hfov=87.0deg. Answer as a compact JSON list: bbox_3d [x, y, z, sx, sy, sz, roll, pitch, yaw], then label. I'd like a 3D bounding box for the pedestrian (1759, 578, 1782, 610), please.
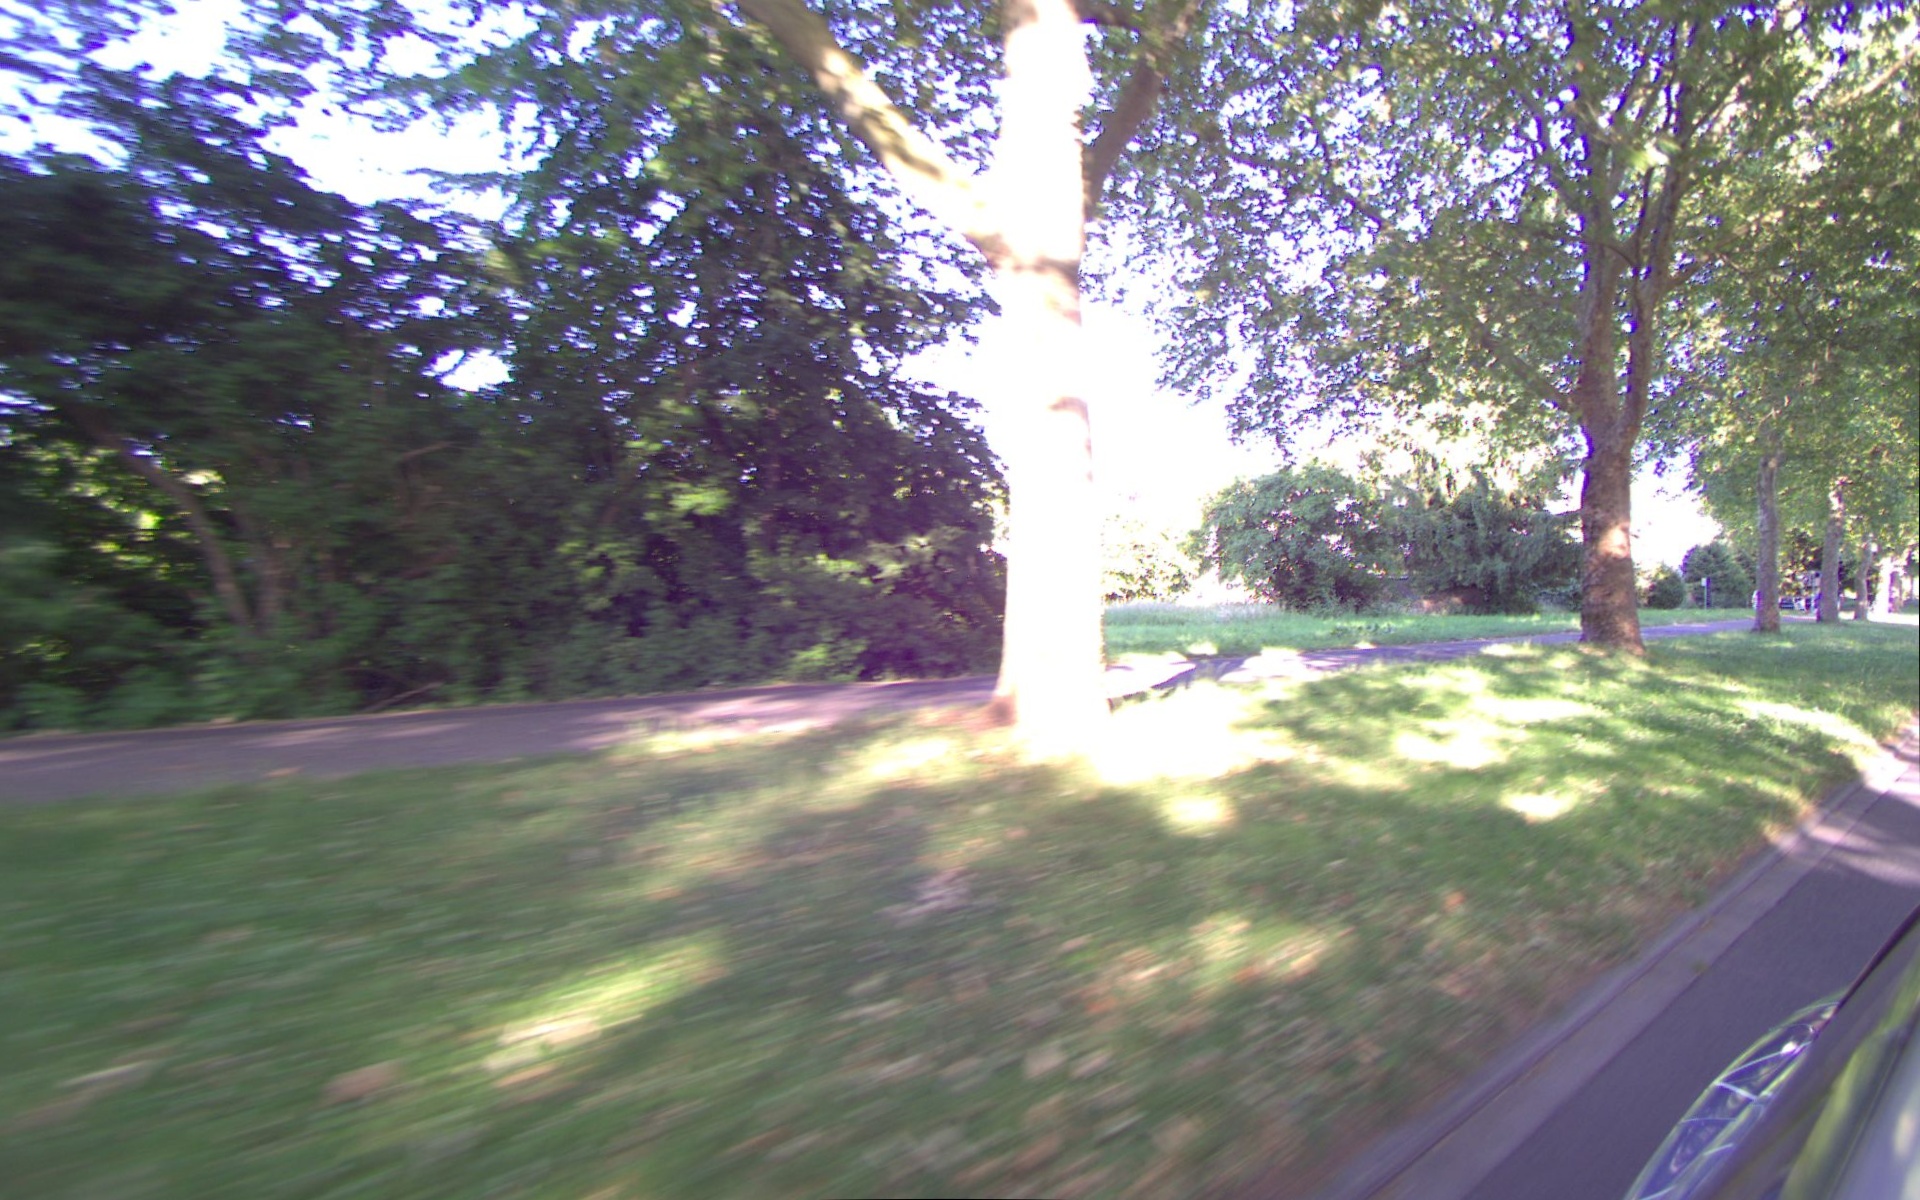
[{"bbox_3d":[42.356,-0.314,52.872,0.780,1.670,0.923,2,2,45],"label":"pedestrian"}]

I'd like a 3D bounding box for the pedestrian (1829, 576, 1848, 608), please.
[{"bbox_3d":[53.366,-0.488,61.503,0.788,1.870,0.756,0,1,-42],"label":"pedestrian"}]

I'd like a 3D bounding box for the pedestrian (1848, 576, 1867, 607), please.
[{"bbox_3d":[53.956,-0.505,60.838,0.774,1.869,0.762,0,1,-42],"label":"pedestrian"}]

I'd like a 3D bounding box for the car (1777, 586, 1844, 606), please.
[{"bbox_3d":[68.461,-0.371,81.546,4.052,1.482,1.706,2,2,41],"label":"car"}]

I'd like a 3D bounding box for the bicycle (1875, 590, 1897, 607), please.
[{"bbox_3d":[63.694,-0.083,69.596,0.442,1.096,1.991,3,1,24],"label":"bicycle"}]

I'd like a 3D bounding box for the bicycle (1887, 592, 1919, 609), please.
[{"bbox_3d":[65.121,0.027,69.826,0.437,1.048,1.723,3,1,-10],"label":"bicycle"}]

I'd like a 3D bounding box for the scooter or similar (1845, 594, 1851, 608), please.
[{"bbox_3d":[75.073,0.096,85.574,0.382,1.211,1.236,0,0,42],"label":"scooter or similar"}]
